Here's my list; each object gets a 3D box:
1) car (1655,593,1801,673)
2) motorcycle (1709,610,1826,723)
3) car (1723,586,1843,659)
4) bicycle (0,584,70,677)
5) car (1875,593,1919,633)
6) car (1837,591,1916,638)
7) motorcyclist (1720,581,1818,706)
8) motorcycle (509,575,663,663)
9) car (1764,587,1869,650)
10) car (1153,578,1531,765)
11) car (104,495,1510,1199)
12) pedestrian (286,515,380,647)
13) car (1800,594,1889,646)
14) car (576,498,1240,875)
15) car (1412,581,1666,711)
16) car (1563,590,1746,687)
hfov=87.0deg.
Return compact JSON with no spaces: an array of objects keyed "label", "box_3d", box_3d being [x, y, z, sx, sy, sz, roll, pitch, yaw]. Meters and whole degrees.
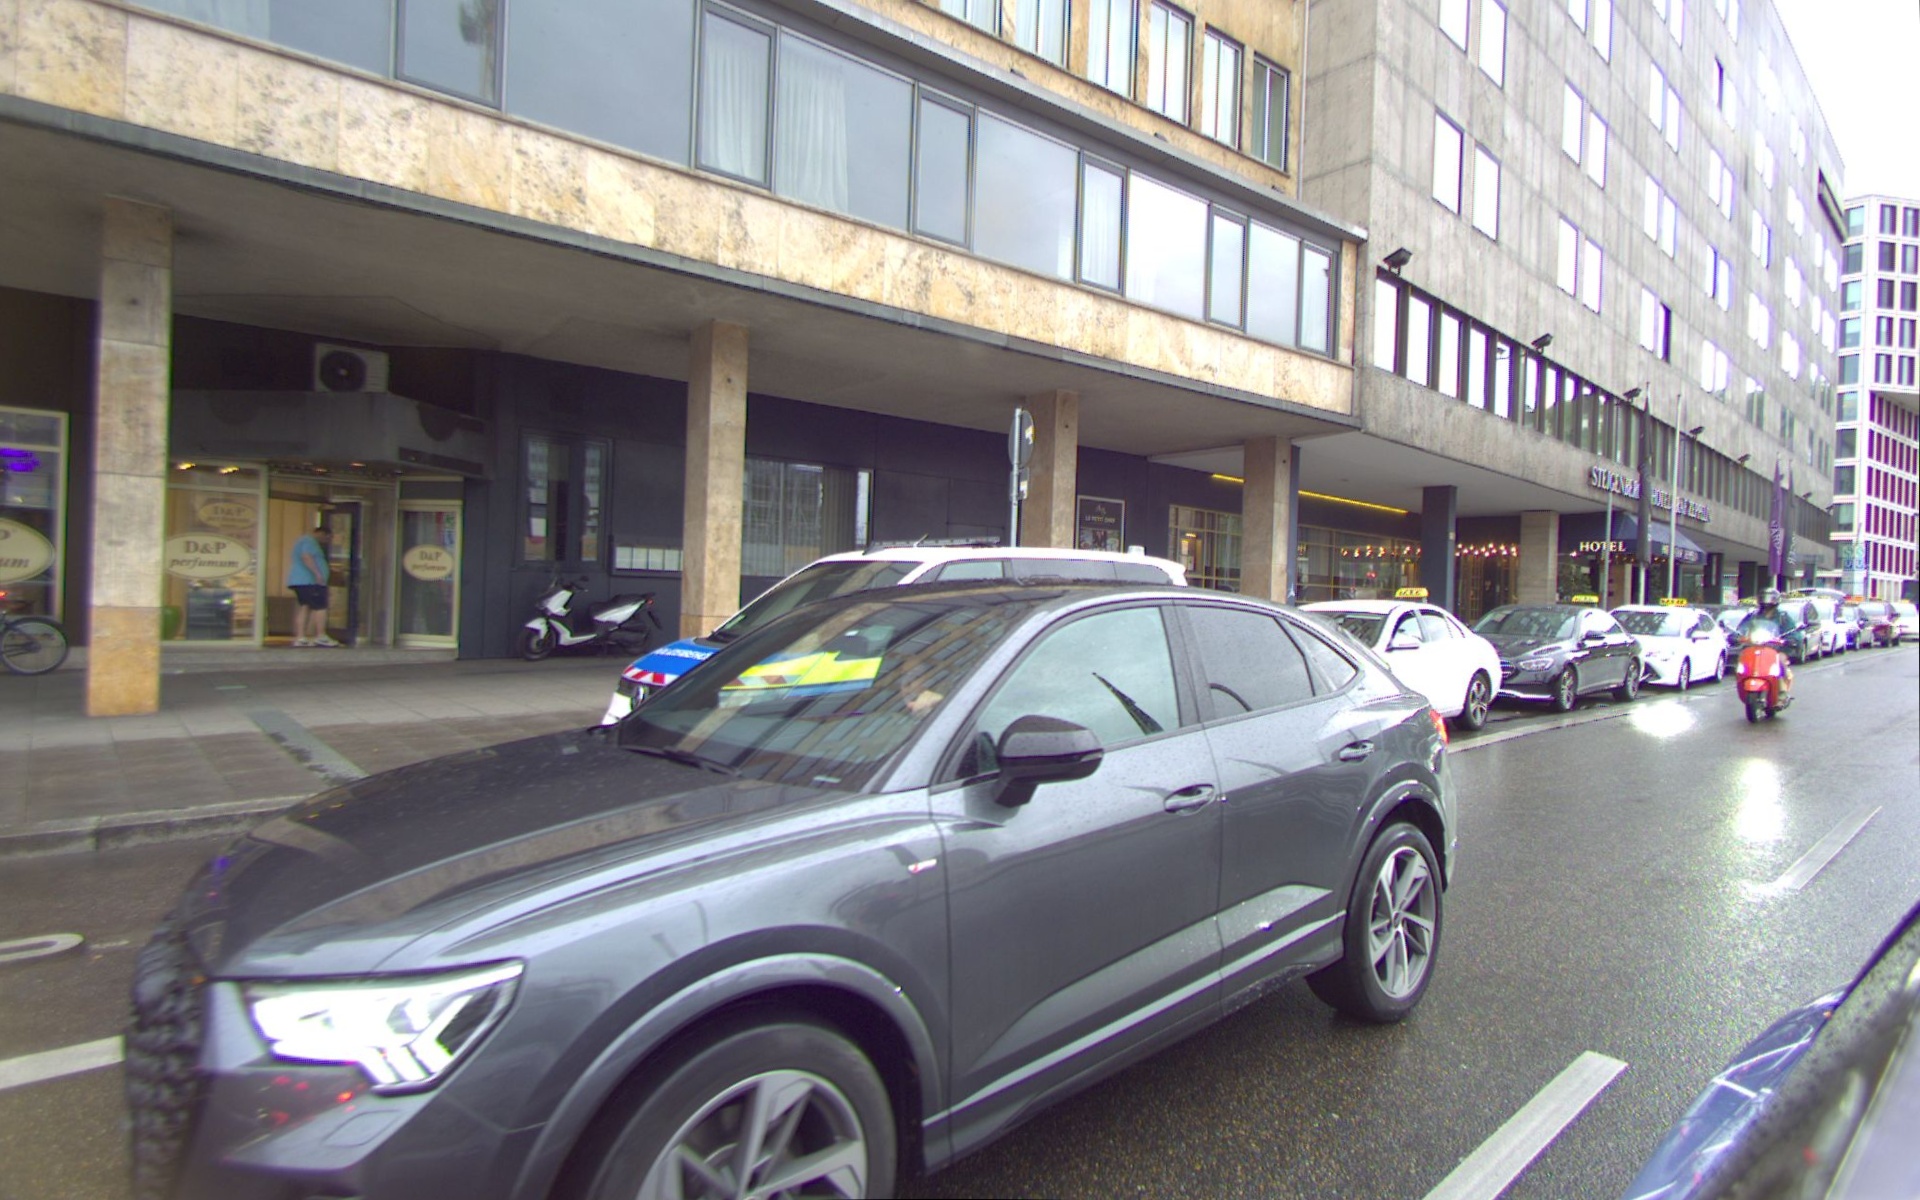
[{"label":"car","box_3d":[17.384,0.653,22.823,4.731,1.612,1.729,0,0,-41]},{"label":"motorcycle","box_3d":[10.497,0.810,13.129,1.931,1.323,0.848,0,0,-41]},{"label":"car","box_3d":[21.903,0.533,26.870,4.731,1.764,1.729,0,0,-41]},{"label":"bicycle","box_3d":[-11.656,0.356,11.397,2.428,1.059,0.657,0,0,-41]},{"label":"car","box_3d":[41.193,0.536,43.927,3.932,1.634,1.729,0,0,-41]},{"label":"car","box_3d":[33.656,0.474,37.140,3.932,1.634,1.729,0,0,-41]},{"label":"motorcyclist","box_3d":[10.497,0.531,13.134,0.829,1.547,0.860,0,0,-40]},{"label":"motorcycle","box_3d":[-5.499,0.260,14.946,2.063,1.233,0.569,0,0,-33]},{"label":"car","box_3d":[25.687,0.497,30.304,4.731,1.764,1.729,0,0,-41]},{"label":"car","box_3d":[4.443,0.610,11.309,4.924,1.658,1.877,0,0,-41]},{"label":"car","box_3d":[-0.037,0.613,3.360,4.266,1.520,1.882,0,0,-41]},{"label":"pedestrian","box_3d":[-8.997,-0.265,14.525,1.114,1.813,0.801,0,0,-33]},{"label":"car","box_3d":[29.694,0.612,33.941,3.932,1.634,1.729,0,0,-41]},{"label":"car","box_3d":[-0.097,0.425,7.549,4.850,1.944,1.877,0,0,-41]},{"label":"car","box_3d":[8.779,0.568,15.164,4.731,1.658,1.877,0,0,-41]},{"label":"car","box_3d":[13.128,0.616,19.010,4.731,1.612,1.729,0,0,-41]}]
